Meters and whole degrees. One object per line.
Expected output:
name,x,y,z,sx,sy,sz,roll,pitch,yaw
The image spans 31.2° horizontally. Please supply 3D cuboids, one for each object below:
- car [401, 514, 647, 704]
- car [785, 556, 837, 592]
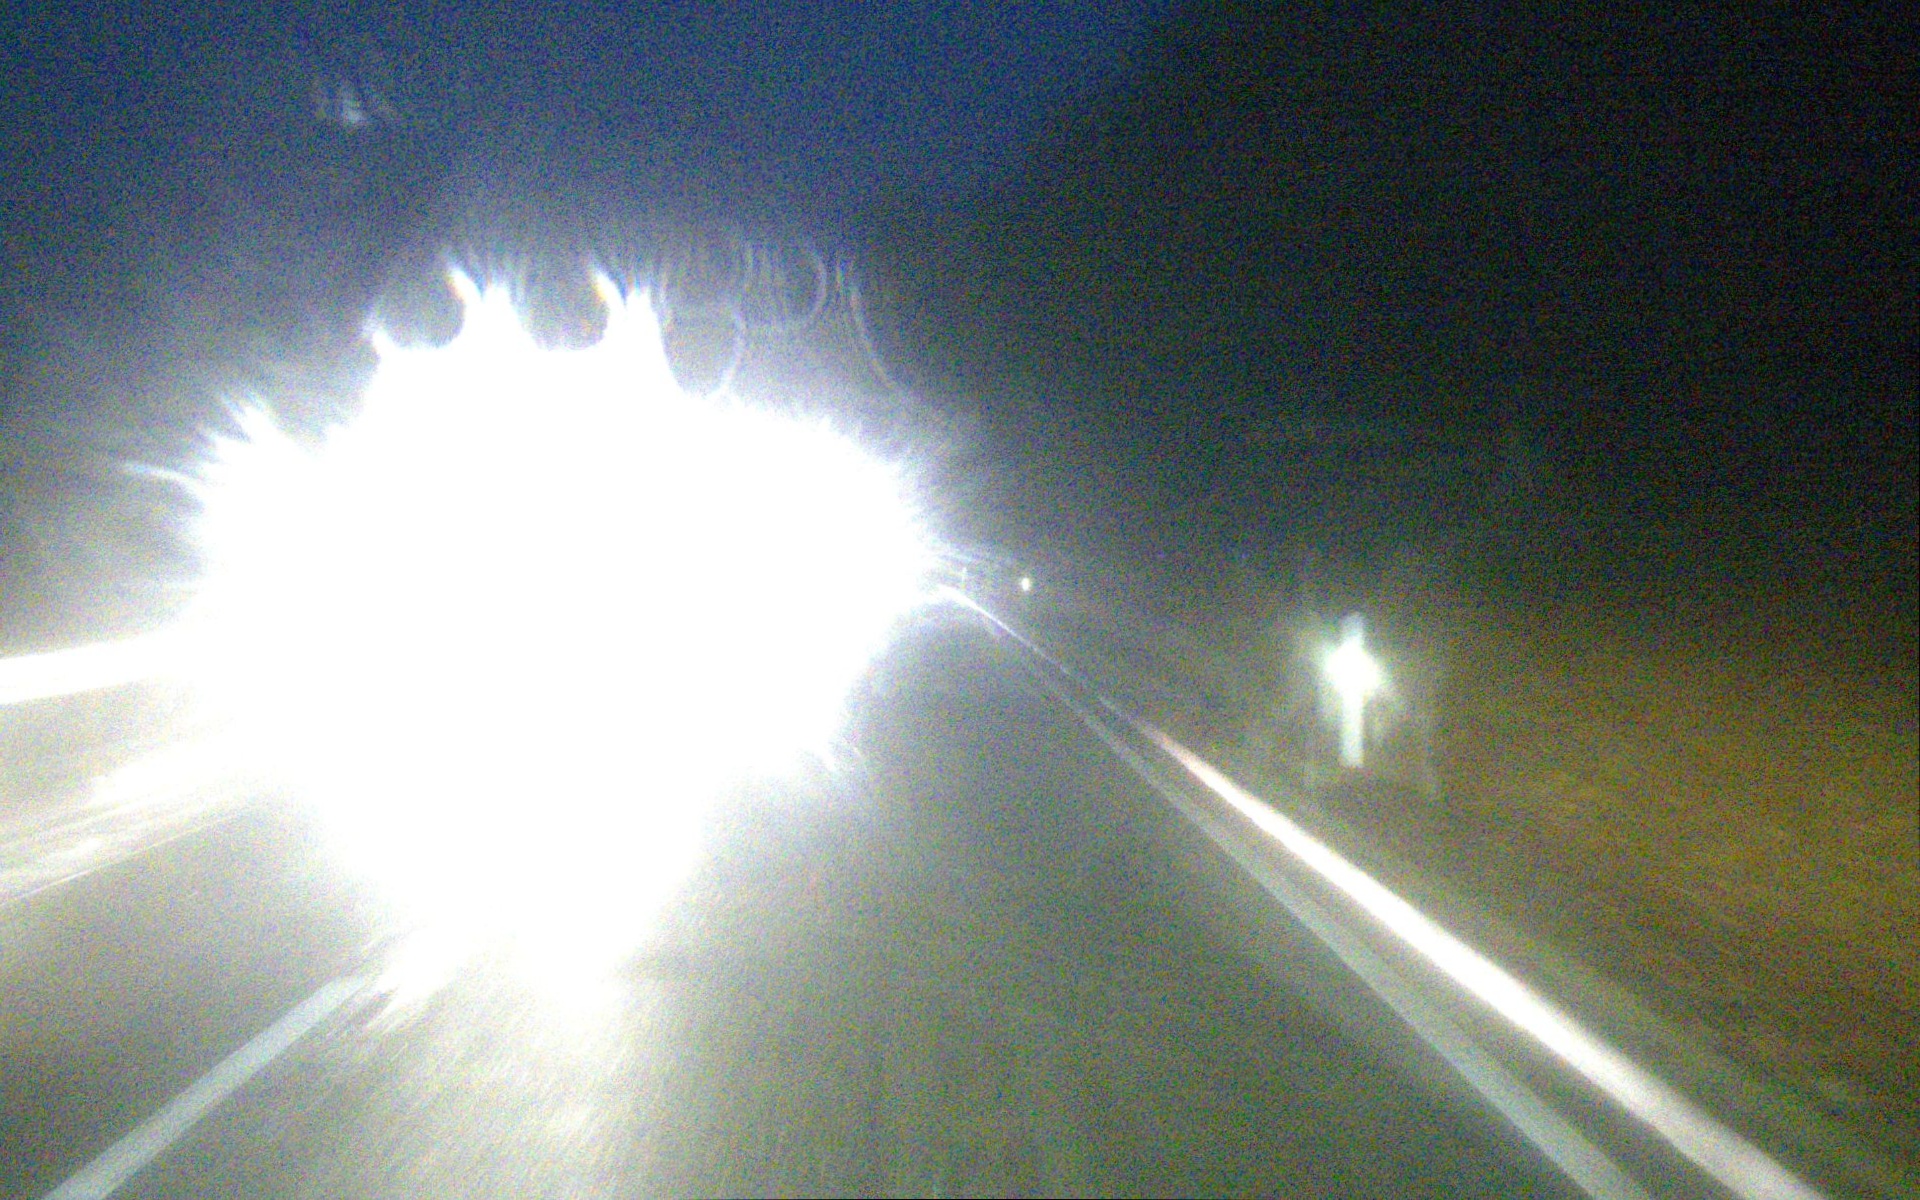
car,-4.394,0.067,35.229,1.993,1.786,4.246,1,0,-1
car,-6.099,-1.071,141.256,1.993,1.443,4.430,1,0,-1
